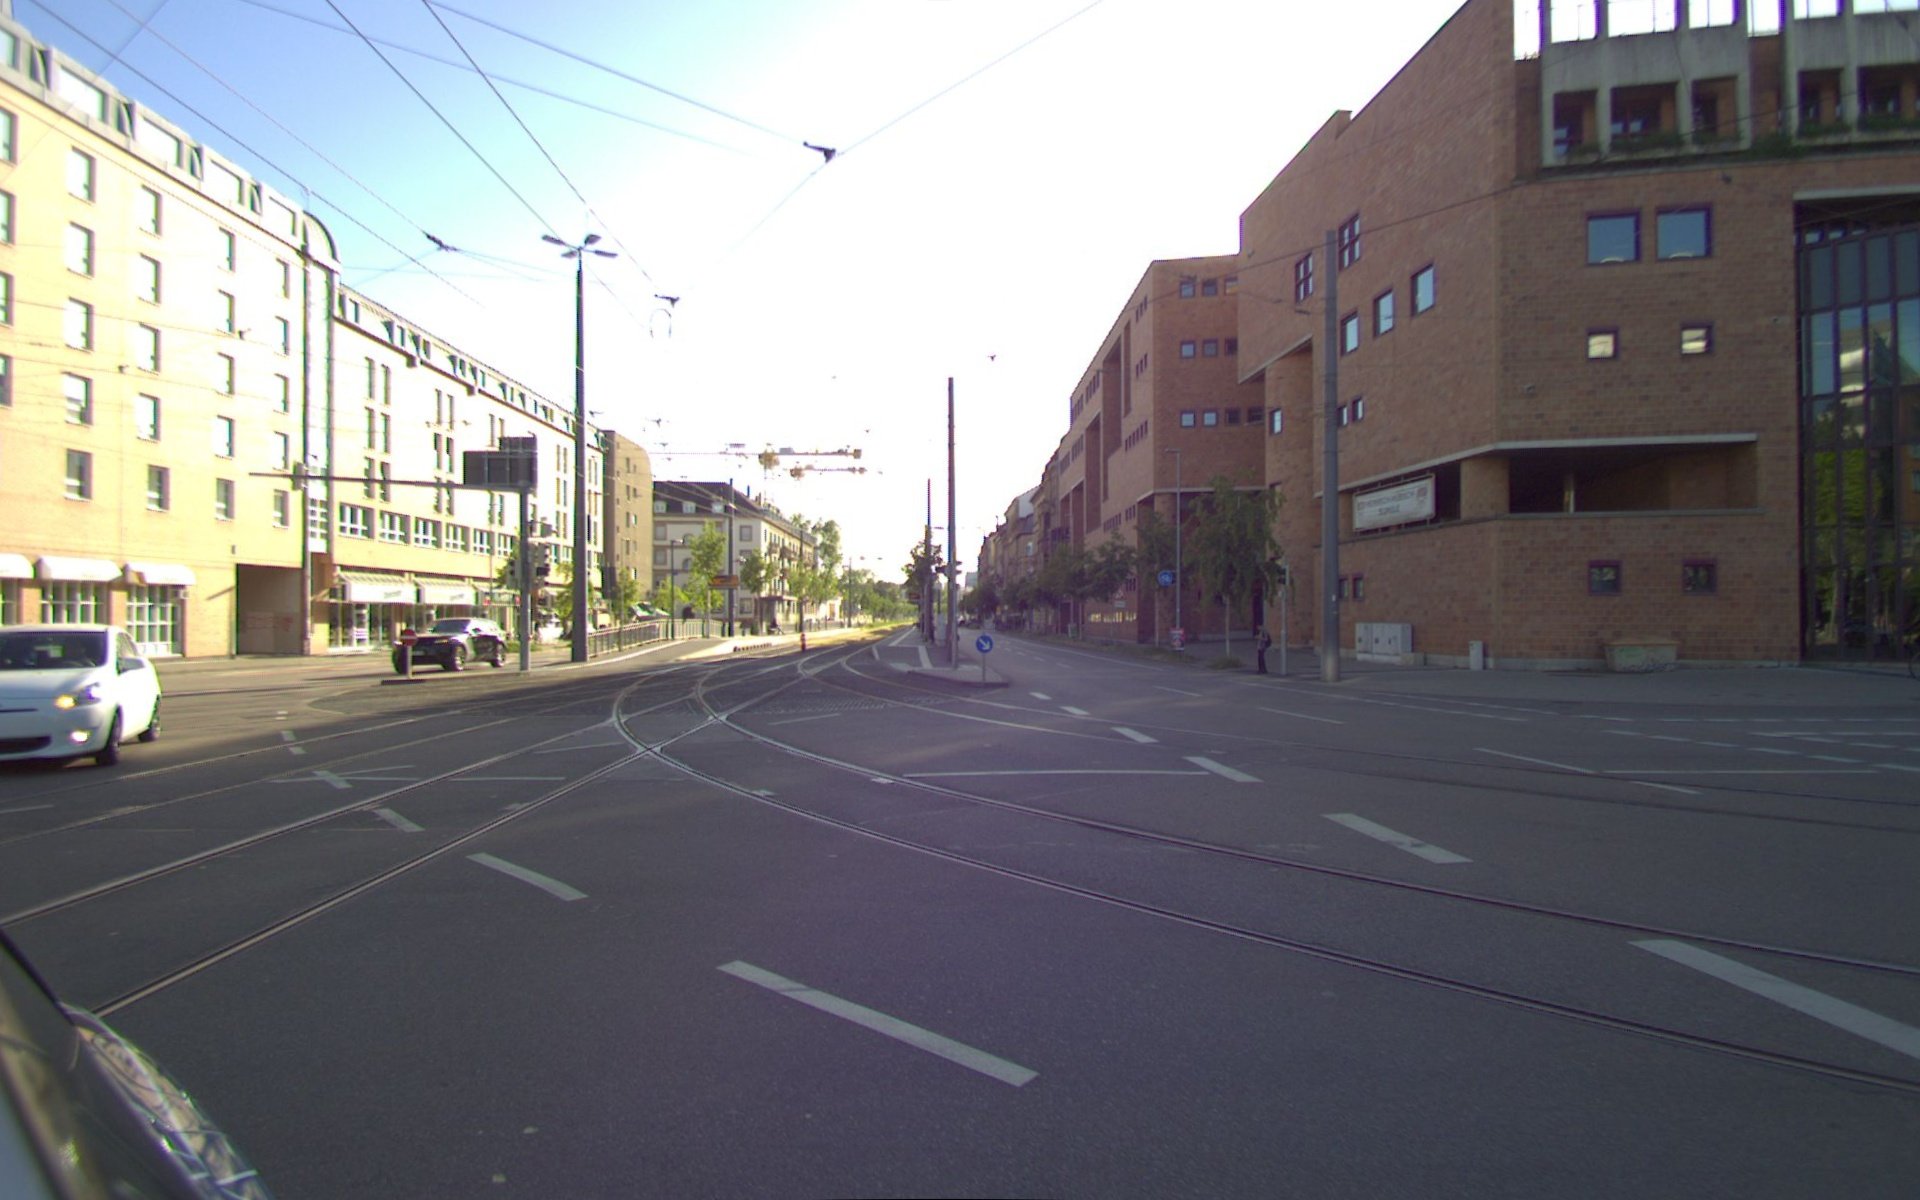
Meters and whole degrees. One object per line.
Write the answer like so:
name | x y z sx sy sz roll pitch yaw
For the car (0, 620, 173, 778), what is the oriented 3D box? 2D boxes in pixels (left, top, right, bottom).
car | -10.130 0.995 11.212 1.613 1.478 4.199 0 -2 -29

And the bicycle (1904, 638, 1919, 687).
bicycle | 22.731 1.410 22.888 1.903 1.088 0.613 -1 -1 16

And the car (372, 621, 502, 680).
car | -16.292 1.523 31.818 1.928 1.674 4.356 -2 -1 -1

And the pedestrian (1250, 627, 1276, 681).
pedestrian | 9.179 1.630 30.666 0.501 1.629 0.506 -1 -1 -12

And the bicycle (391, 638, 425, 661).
bicycle | -29.185 2.618 53.537 1.762 1.157 0.549 1 -1 20

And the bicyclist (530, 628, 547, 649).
bicyclist | -31.490 2.899 75.595 0.578 1.526 0.841 2 -3 31

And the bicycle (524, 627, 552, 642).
bicycle | -31.495 2.589 75.561 0.600 1.058 1.861 3 -2 31

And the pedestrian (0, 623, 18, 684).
pedestrian | -28.366 1.591 29.933 0.403 1.788 0.573 0 -2 30

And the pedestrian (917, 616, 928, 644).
pedestrian | -2.413 1.923 64.385 0.682 1.756 0.587 0 -2 -4

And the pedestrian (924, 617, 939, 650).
pedestrian | -1.377 1.595 48.503 0.691 1.546 0.655 0 -2 -4

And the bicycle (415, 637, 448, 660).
bicycle | -28.687 2.633 54.916 1.762 1.157 0.549 1 -1 20
